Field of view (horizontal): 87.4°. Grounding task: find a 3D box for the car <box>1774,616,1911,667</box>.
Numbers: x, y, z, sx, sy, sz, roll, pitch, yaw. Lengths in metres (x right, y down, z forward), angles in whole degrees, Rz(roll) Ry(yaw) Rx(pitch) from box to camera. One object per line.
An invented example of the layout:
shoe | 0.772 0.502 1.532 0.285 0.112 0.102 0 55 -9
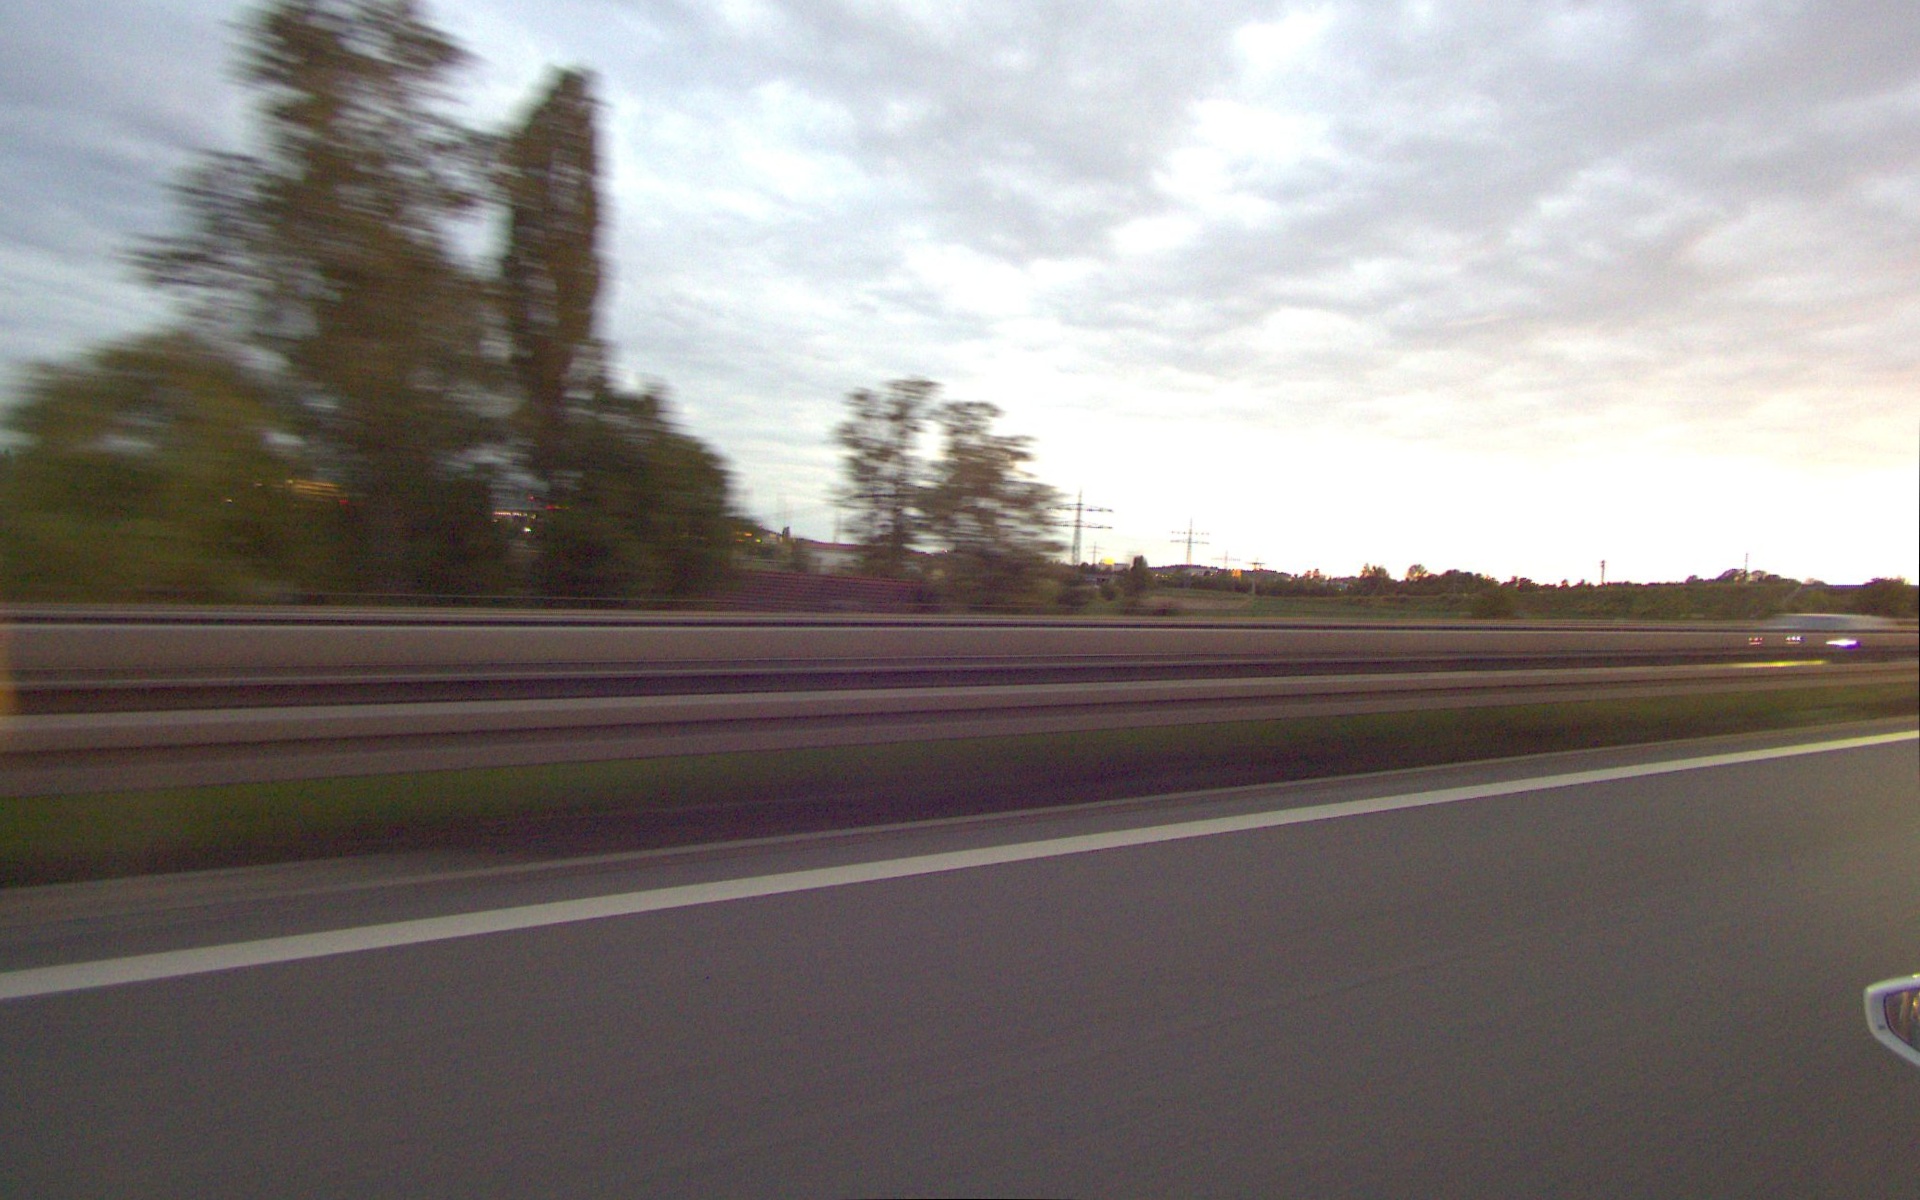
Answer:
car | 26.755 1.219 30.433 4.282 1.422 1.982 1 0 -32

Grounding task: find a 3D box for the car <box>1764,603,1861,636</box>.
car | 34.126 0.793 40.197 4.134 1.243 1.713 1 0 -31
